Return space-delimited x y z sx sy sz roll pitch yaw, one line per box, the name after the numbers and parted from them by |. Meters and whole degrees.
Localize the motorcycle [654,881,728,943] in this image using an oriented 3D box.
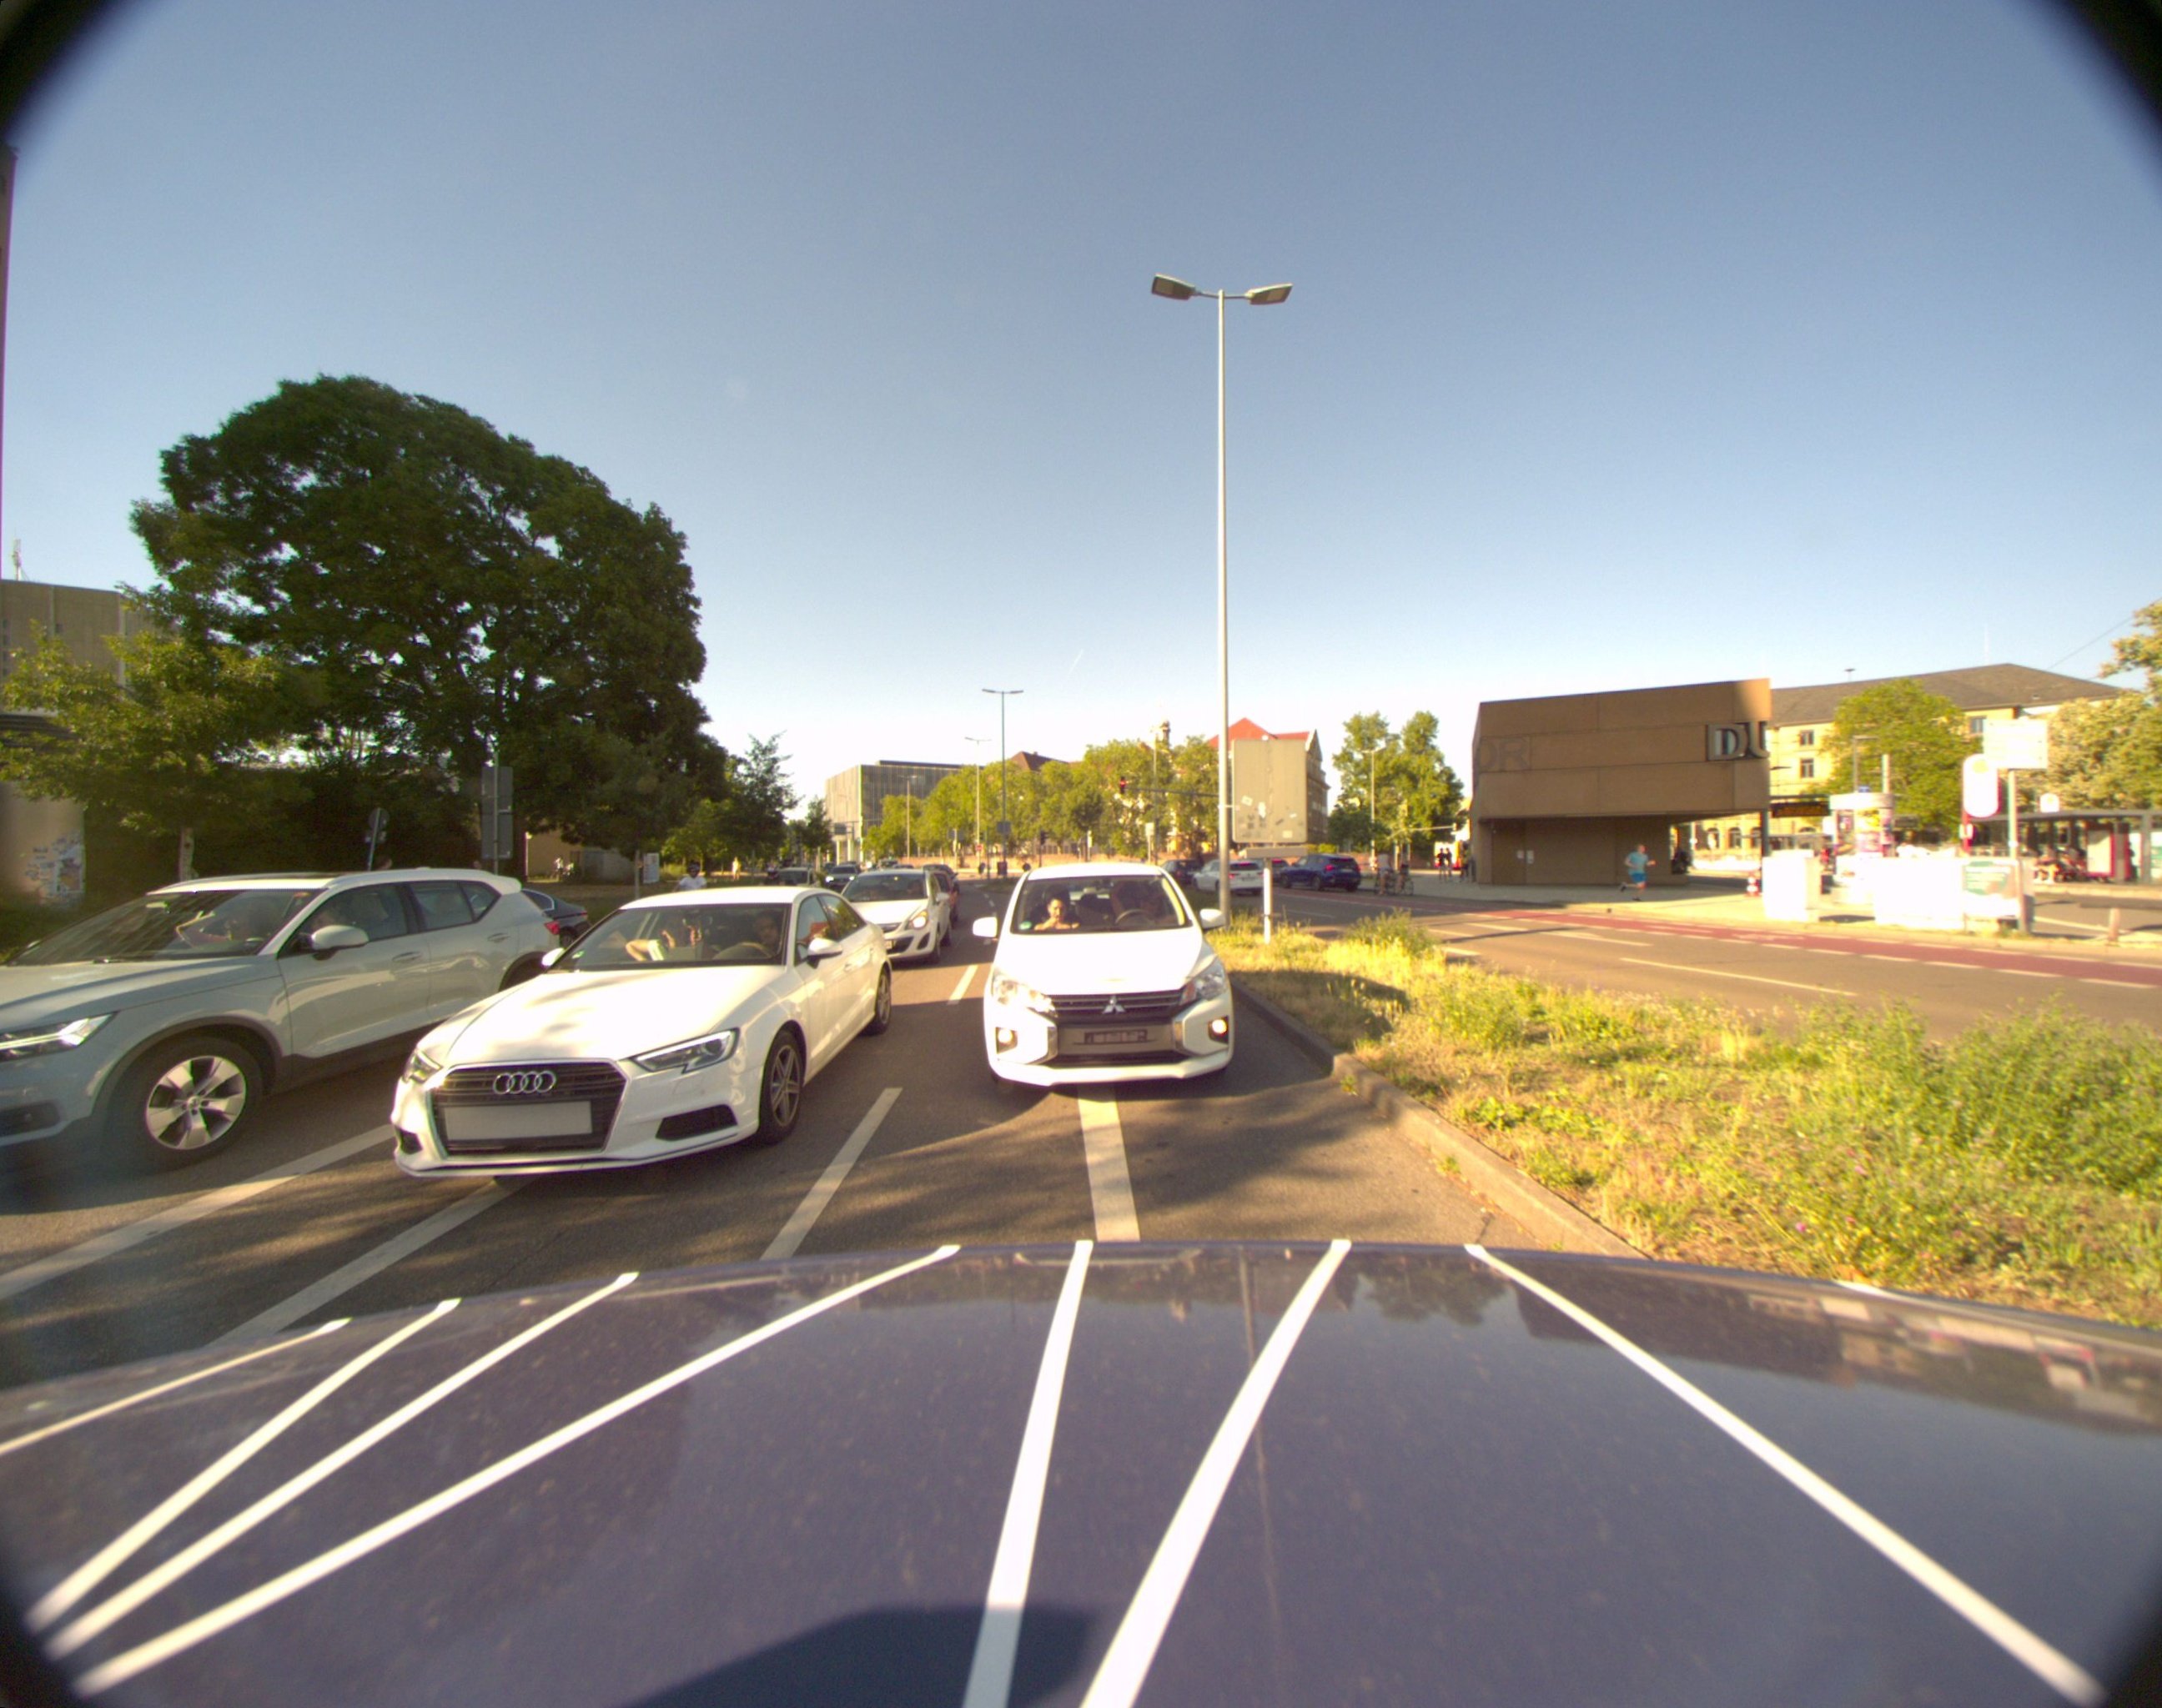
-9.499 1.383 18.617 0.718 1.297 2.234 -2 1 -4 | motorcycle

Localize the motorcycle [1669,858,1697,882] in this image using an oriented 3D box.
26.294 0.705 33.187 0.948 1.061 0.331 -1 1 39 | motorcycle

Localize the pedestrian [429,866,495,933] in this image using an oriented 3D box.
-16.812 1.218 20.673 1.010 1.711 0.884 -2 1 -10 | pedestrian

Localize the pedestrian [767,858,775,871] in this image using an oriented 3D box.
-46.994 1.574 115.142 0.840 2.002 1.065 -3 1 -30 | pedestrian

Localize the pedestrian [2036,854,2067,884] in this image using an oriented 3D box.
39.031 0.611 30.572 0.539 1.180 0.659 -2 1 29 | pedestrian

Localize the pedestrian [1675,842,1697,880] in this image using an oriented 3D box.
32.746 0.364 41.116 0.780 2.002 0.771 -3 2 -42 | pedestrian

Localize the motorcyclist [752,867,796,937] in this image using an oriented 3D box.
-7.220 1.110 17.886 0.711 1.581 0.690 -2 1 -4 | motorcyclist

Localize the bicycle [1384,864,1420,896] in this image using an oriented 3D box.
12.462 0.982 29.517 0.464 1.185 1.395 -3 1 -17 | bicycle

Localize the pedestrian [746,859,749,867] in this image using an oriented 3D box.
-59.589 1.664 135.789 0.409 1.476 0.486 -1 1 1 | pedestrian

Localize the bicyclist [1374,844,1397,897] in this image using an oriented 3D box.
11.740 0.619 29.290 0.611 2.002 0.565 -1 1 -15 | bicyclist

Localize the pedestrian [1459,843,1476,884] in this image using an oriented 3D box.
19.206 0.450 37.776 0.655 2.002 0.469 -2 1 20 | pedestrian

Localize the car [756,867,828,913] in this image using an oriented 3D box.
-10.770 1.293 28.593 1.746 1.516 3.996 -1 0 -9 | car

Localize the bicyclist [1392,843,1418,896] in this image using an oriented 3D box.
12.490 0.594 29.340 0.611 2.002 0.708 -1 1 -15 | bicyclist

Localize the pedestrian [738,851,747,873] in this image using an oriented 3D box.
-25.361 0.592 56.915 0.548 1.597 0.603 -3 1 -19 | pedestrian

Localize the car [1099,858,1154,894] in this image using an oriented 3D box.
2.068 0.990 36.008 1.756 1.451 4.185 -2 1 -8 | car

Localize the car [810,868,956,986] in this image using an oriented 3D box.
-3.076 1.049 12.581 1.628 1.451 4.039 -2 1 -5 | car

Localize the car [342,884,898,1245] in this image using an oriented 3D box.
-2.556 1.036 5.392 1.628 1.396 3.832 -2 1 -2 | car

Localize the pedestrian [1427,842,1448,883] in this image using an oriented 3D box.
17.601 0.410 37.540 0.777 2.002 0.773 -2 1 13 | pedestrian

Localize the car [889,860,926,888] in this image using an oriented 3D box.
-11.271 1.284 49.214 1.748 1.696 3.993 -1 0 -21 | car

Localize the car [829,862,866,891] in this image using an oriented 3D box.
-13.284 1.227 43.380 1.747 1.536 3.995 -1 0 -14 | car

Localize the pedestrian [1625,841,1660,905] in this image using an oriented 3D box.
17.004 0.573 23.010 0.797 1.886 0.612 0 1 40 | pedestrian

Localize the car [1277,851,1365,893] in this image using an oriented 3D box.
10.388 0.734 33.181 1.757 1.680 4.184 -1 0 -13 | car

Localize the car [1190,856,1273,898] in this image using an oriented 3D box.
6.091 0.884 31.252 1.850 1.483 4.388 -2 1 -10 | car

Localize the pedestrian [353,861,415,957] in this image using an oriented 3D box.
-14.047 1.086 15.329 0.464 1.875 0.696 -2 1 18 | pedestrian

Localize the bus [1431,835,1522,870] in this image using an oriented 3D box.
43.227 -0.221 82.761 12.565 3.193 3.079 -3 1 -34 | bus

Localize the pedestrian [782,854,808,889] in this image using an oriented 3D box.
-17.024 1.020 45.223 1.143 2.002 1.285 -2 1 -10 | pedestrian

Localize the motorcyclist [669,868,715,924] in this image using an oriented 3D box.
-9.532 1.016 18.645 0.718 1.297 0.735 -2 1 -4 | motorcyclist

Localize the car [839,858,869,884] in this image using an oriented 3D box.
-16.660 1.186 55.946 1.880 1.805 3.995 -1 0 -14 | car

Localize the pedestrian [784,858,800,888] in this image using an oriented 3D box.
-15.435 1.011 40.553 0.596 1.585 0.594 -2 1 -8 | pedestrian

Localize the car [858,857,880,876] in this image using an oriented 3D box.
-20.333 1.164 72.829 1.748 1.696 3.993 -1 0 -20 | car

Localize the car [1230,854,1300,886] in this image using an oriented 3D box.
9.328 0.788 38.984 1.850 1.483 4.388 1 0 -10 | car

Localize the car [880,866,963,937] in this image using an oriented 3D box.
-3.899 1.097 19.098 1.628 1.451 4.039 -2 1 -7 | car

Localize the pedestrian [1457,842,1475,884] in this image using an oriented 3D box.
18.705 0.417 36.905 0.655 2.002 0.469 -2 1 20 | pedestrian

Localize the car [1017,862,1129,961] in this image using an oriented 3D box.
-0.150 0.951 14.398 1.755 1.451 4.188 -2 1 -1 | car

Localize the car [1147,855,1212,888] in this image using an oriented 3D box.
4.790 0.820 37.458 1.757 1.451 4.184 -2 1 -13 | car

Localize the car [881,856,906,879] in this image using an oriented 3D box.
-15.395 1.110 62.372 1.880 1.805 3.995 -1 0 -14 | car

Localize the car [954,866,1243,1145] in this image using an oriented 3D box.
0.054 0.913 6.435 1.628 1.451 4.040 -2 1 -2 | car

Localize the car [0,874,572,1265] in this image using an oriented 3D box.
-5.752 1.053 5.259 1.628 1.611 4.223 -2 1 -2 | car

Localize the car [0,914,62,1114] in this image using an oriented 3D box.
-8.760 1.241 3.884 1.628 1.451 4.040 -2 1 -2 | car

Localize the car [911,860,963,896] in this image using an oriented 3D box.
-6.719 1.071 35.170 1.748 1.536 3.993 -1 0 -20 | car

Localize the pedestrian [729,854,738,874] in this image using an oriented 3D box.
-25.915 0.744 56.669 0.548 1.521 0.603 -3 1 -19 | pedestrian

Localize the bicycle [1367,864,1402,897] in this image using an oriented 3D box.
11.714 1.013 29.391 0.464 1.185 1.395 -3 1 -17 | bicycle

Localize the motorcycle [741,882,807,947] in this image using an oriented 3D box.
-7.207 1.378 17.960 0.718 1.297 2.234 -2 1 -4 | motorcycle
